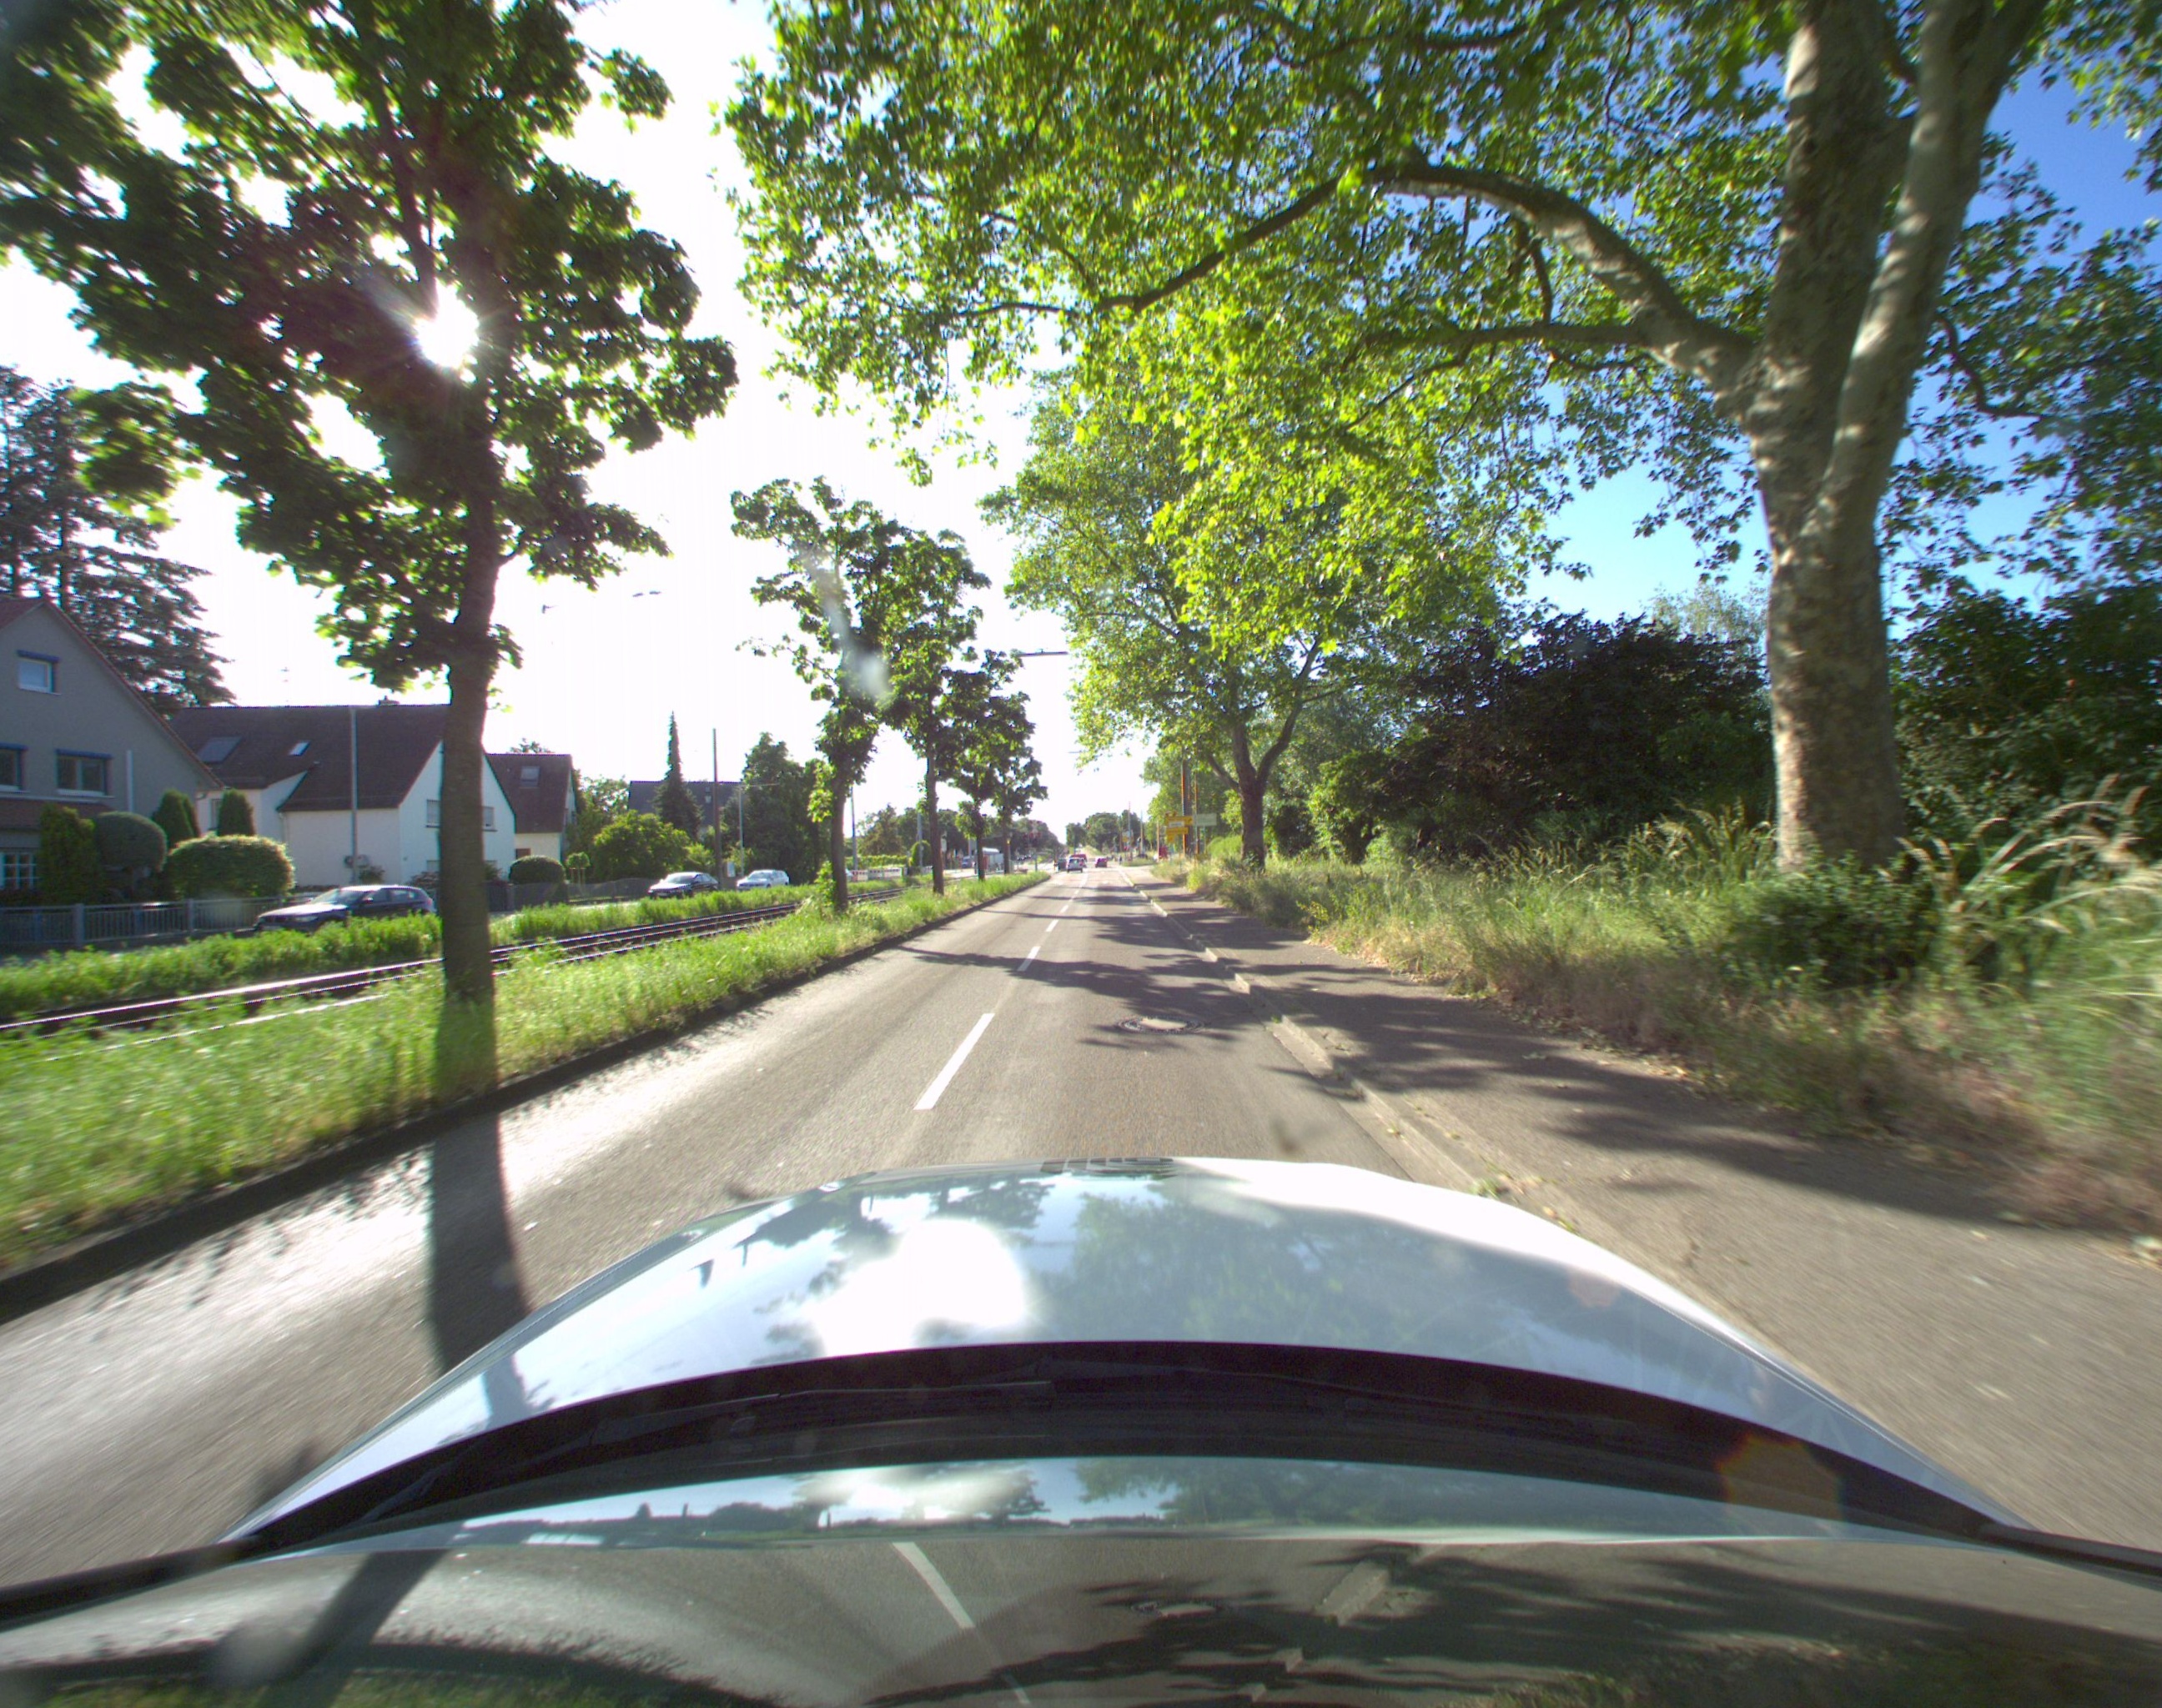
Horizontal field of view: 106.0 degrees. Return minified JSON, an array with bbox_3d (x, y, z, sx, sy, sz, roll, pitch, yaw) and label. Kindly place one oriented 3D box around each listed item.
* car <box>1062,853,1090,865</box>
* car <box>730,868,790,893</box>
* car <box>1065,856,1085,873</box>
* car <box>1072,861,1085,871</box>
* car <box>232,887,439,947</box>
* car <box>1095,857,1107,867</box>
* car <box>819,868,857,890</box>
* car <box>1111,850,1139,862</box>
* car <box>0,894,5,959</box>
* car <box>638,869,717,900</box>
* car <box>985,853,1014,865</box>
[{"bbox_3d":[-1.035,1.051,159.186,5.170,2.275,1.985,0,-1,-23],"label":"car"},{"bbox_3d":[-19.968,1.630,50.885,1.853,1.431,4.462,-1,-1,1],"label":"car"},{"bbox_3d":[-0.618,1.075,81.633,1.853,1.601,4.228,-1,-1,1],"label":"car"},{"bbox_3d":[-0.364,1.838,126.011,1.986,1.603,4.474,-1,-1,1],"label":"car"},{"bbox_3d":[-20.653,1.683,22.845,1.853,1.369,4.228,-1,-1,1],"label":"car"},{"bbox_3d":[2.958,1.180,120.842,1.785,1.559,4.228,-1,-1,1],"label":"car"},{"bbox_3d":[-19.650,1.977,66.057,1.771,1.707,4.228,-1,-1,1],"label":"car"},{"bbox_3d":[8.535,0.464,159.227,5.170,2.275,1.985,0,-1,-23],"label":"car"},{"bbox_3d":[-26.361,1.671,17.512,3.904,1.452,1.889,0,1,1],"label":"car"},{"bbox_3d":[-20.247,1.486,41.070,1.853,1.413,4.159,-1,-1,1],"label":"car"},{"bbox_3d":[-15.899,0.959,158.143,5.274,2.354,1.849,0,-1,-29],"label":"car"}]
